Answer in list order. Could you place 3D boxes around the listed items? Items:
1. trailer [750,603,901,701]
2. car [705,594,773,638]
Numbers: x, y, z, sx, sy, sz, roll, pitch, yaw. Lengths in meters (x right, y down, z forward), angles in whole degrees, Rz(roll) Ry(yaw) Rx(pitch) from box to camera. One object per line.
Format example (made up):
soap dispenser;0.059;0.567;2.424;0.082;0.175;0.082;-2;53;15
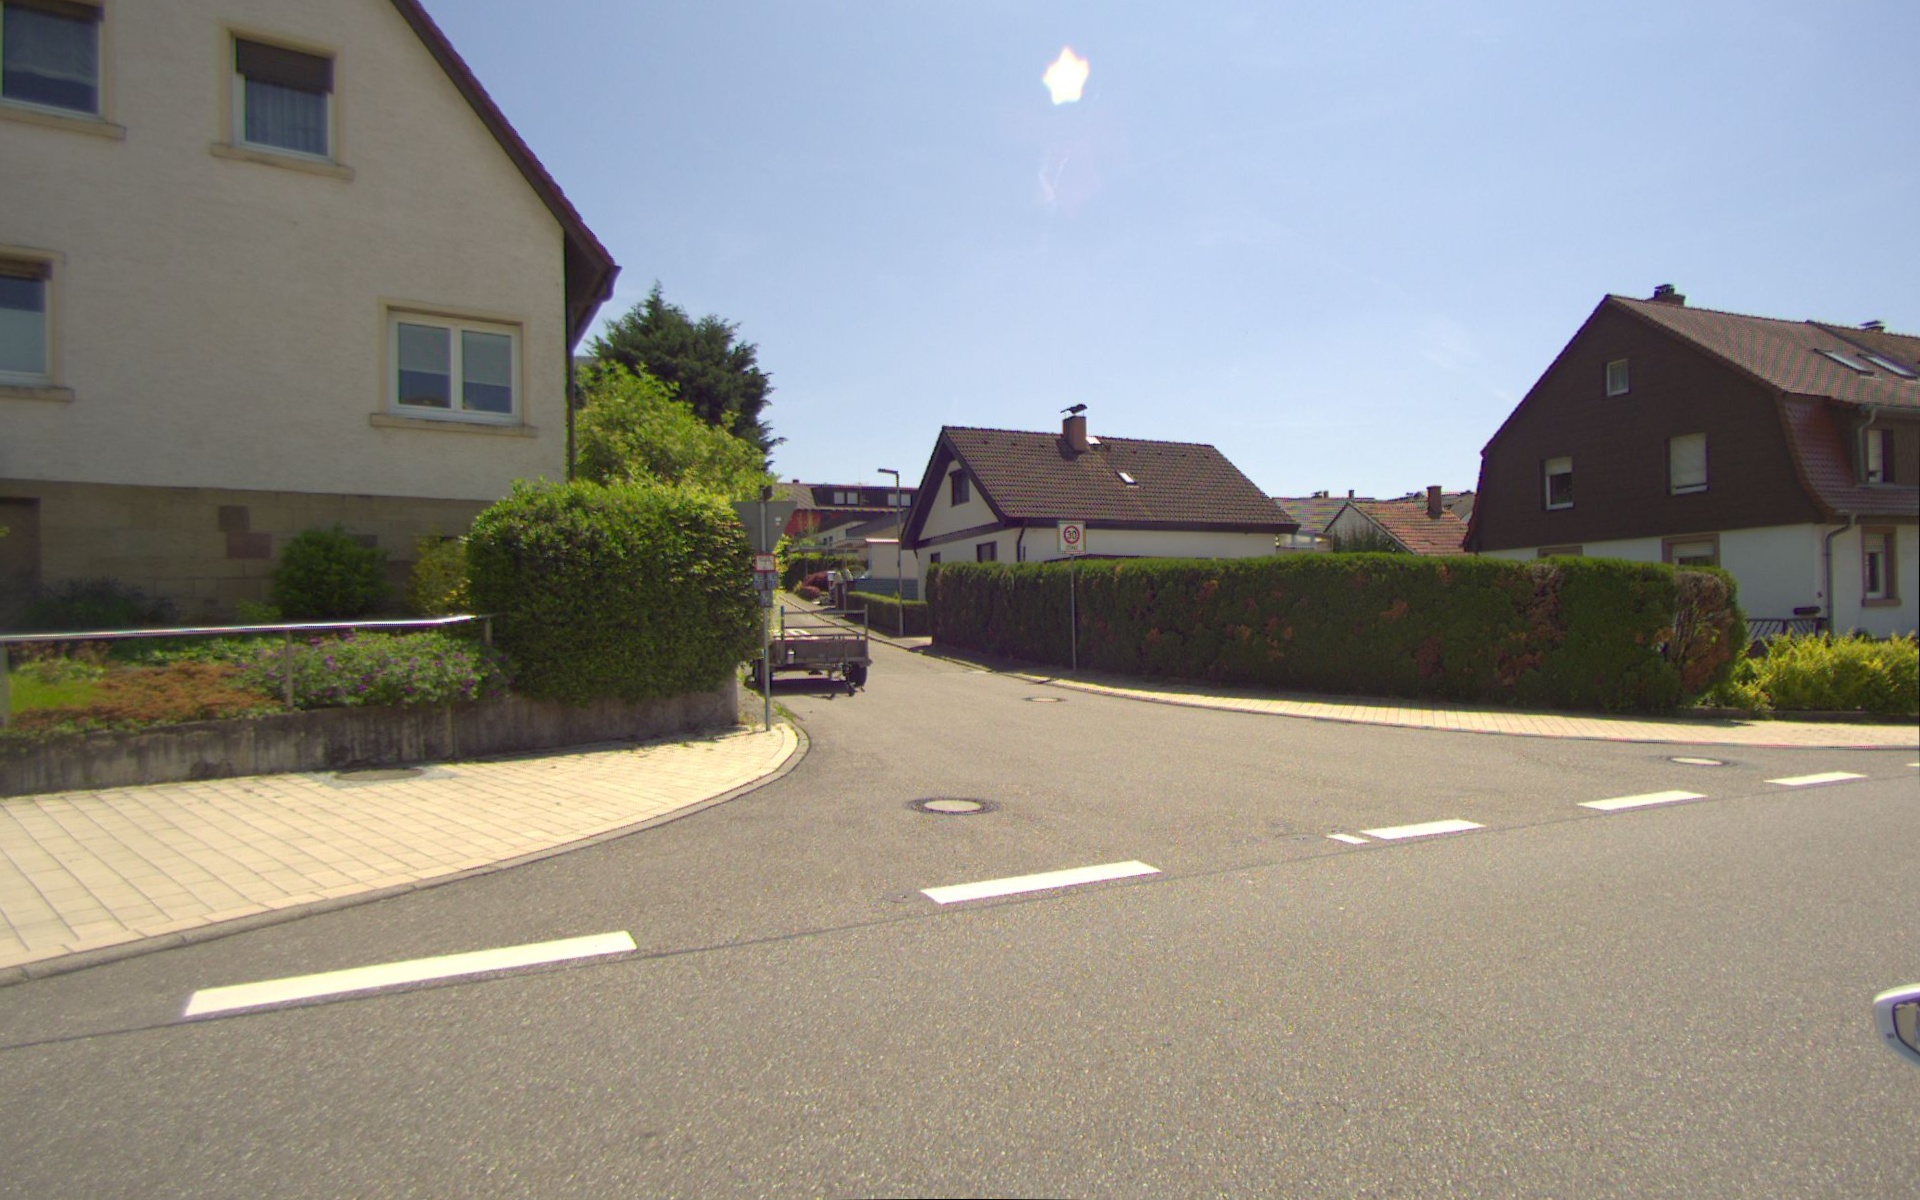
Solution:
trailer;-2.671;0.847;18.772;1.968;1.525;5.059;0;0;-18
car;-7.300;0.488;32.915;1.722;1.207;3.761;1;2;-20
